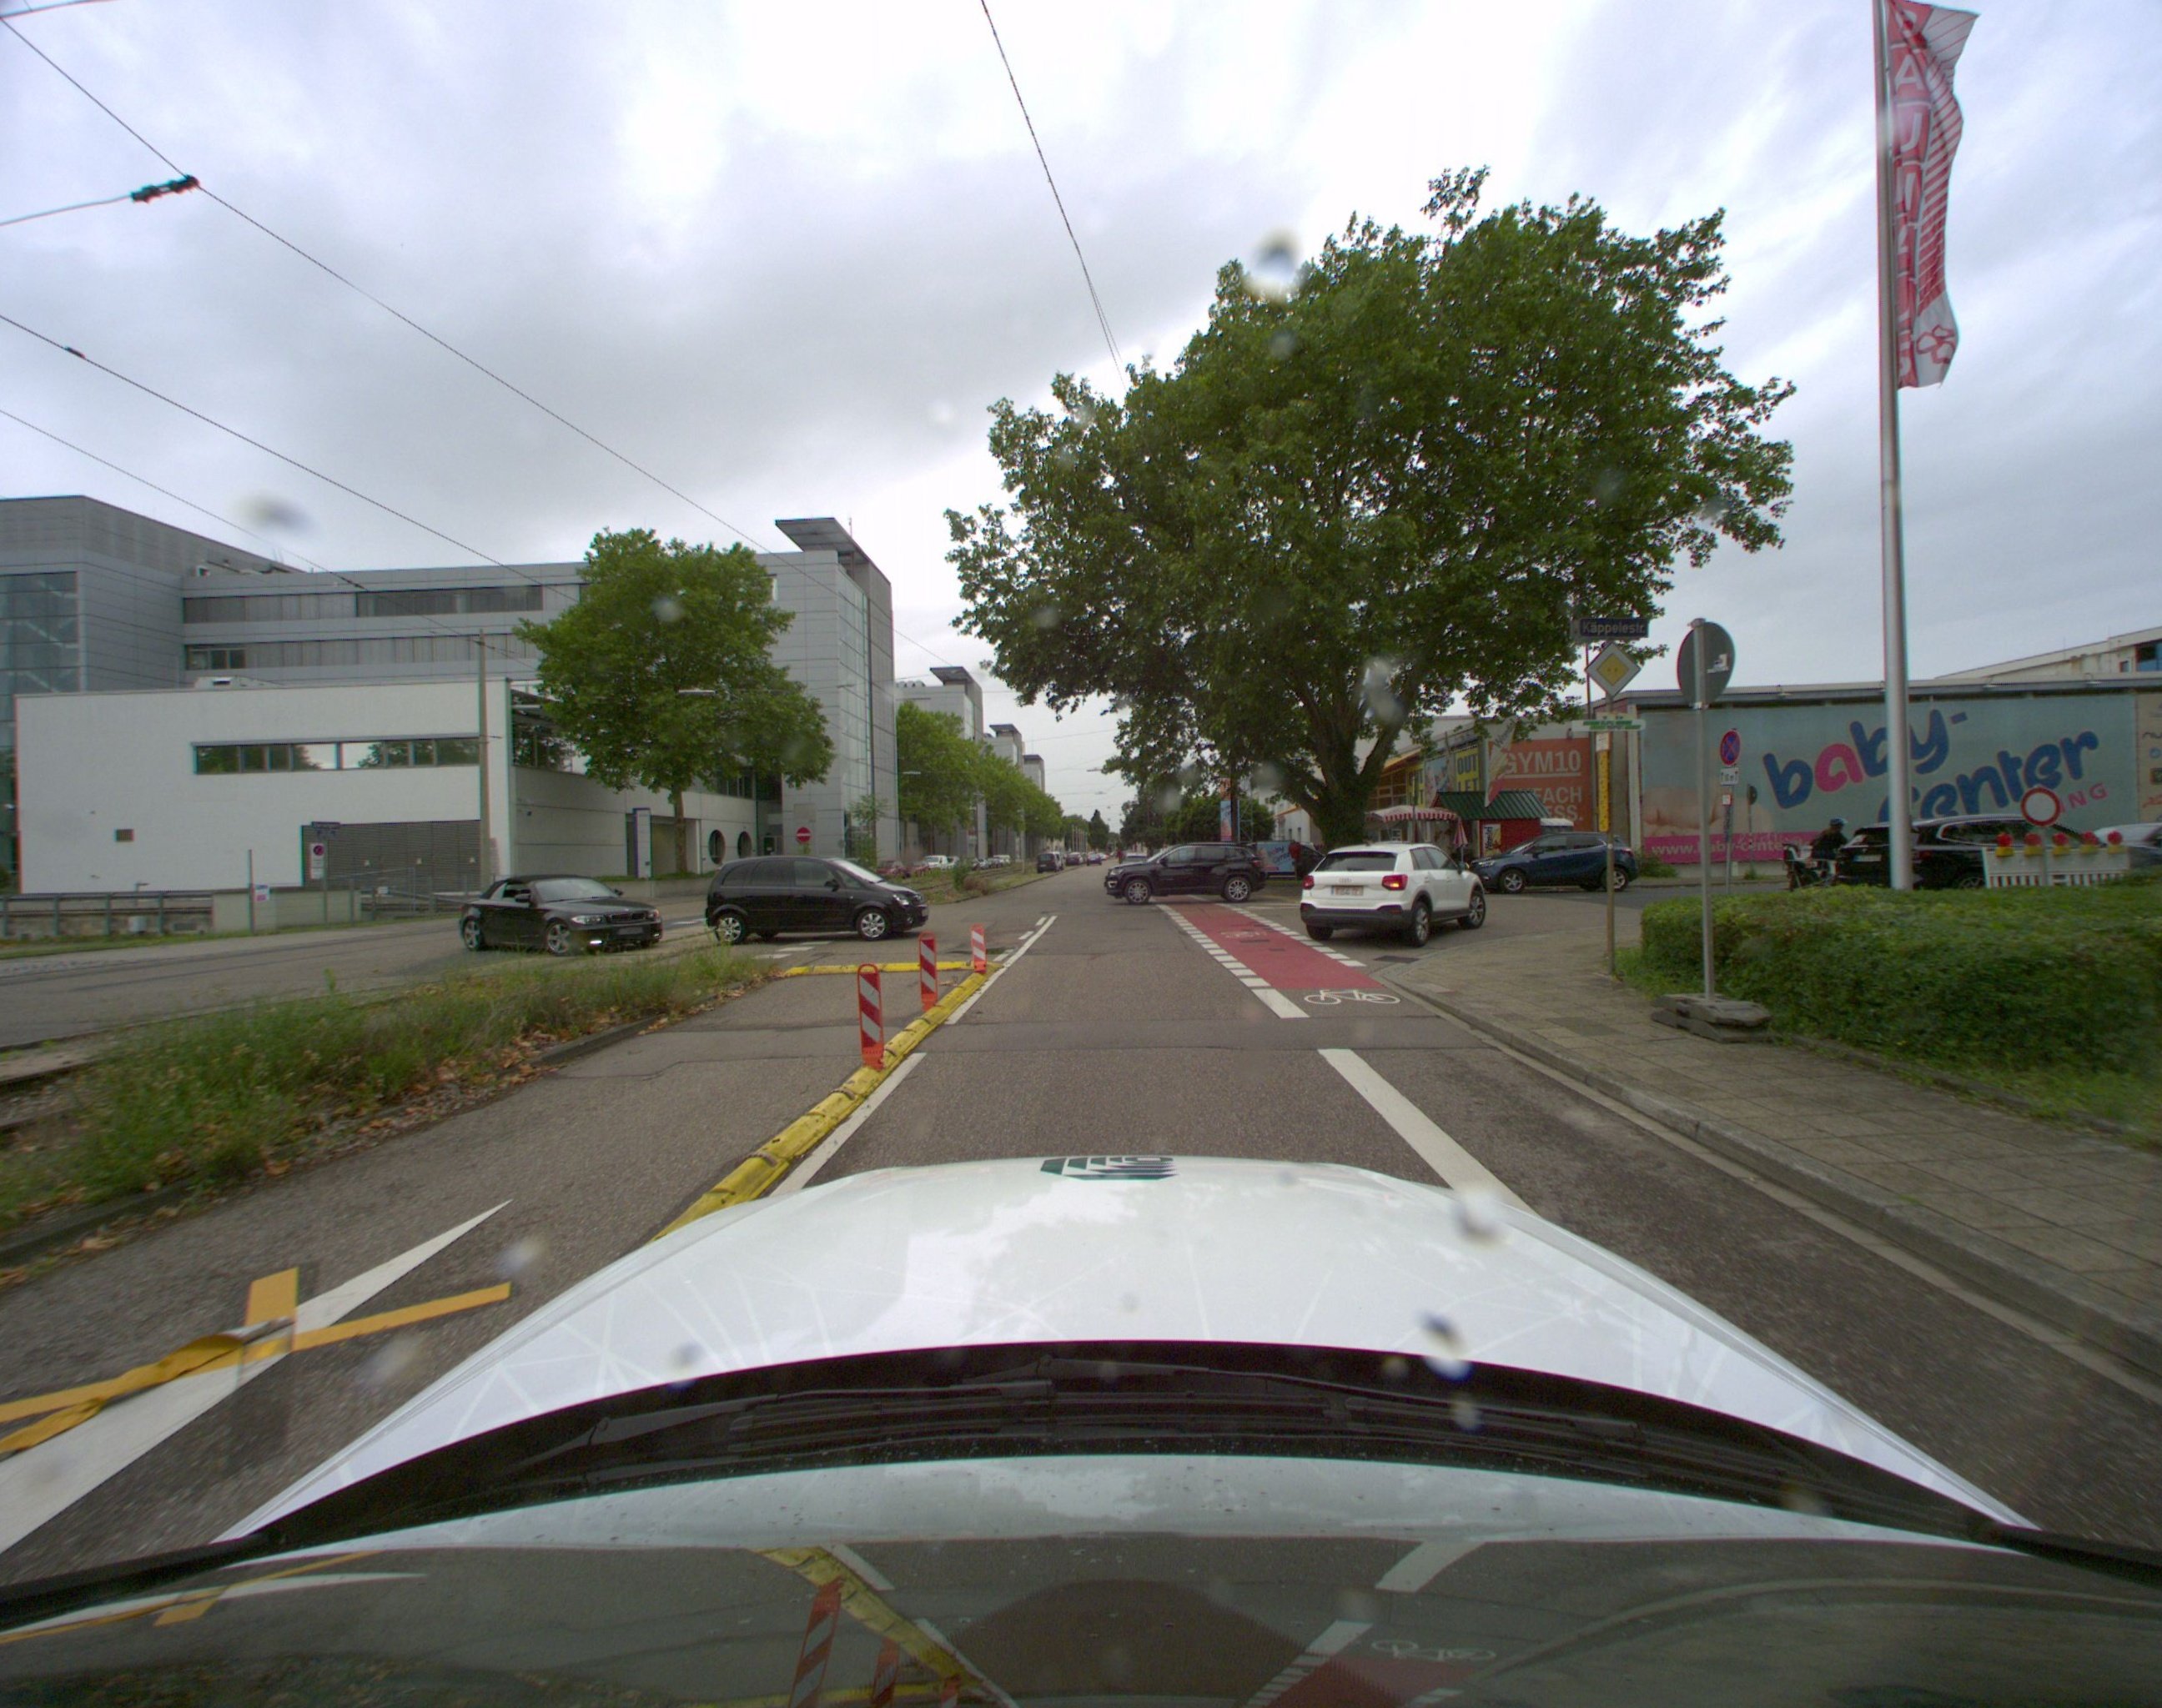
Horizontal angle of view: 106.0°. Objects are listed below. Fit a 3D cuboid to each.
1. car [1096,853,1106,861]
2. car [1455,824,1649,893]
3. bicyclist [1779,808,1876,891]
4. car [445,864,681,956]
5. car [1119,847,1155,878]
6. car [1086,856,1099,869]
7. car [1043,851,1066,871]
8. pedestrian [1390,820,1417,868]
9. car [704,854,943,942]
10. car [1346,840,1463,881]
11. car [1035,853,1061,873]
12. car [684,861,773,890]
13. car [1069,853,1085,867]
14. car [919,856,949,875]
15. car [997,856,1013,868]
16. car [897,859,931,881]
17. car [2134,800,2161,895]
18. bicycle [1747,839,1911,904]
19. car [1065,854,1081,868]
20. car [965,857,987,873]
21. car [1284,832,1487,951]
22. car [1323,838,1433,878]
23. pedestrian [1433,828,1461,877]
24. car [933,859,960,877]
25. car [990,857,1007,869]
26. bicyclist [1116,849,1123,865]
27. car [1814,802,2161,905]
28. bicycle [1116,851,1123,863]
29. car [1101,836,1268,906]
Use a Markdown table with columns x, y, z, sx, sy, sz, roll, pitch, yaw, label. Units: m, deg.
| x | y | z | sx | sy | sz | roll | pitch | yaw | label |
| --- | --- | --- | --- | --- | --- | --- | --- | --- | --- |
| 3.753 | 0.585 | 151.318 | 1.789 | 1.513 | 3.705 | 0 | 0 | 0 | car |
| 12.931 | 0.130 | 22.628 | 4.186 | 1.677 | 1.998 | -2 | 0 | 10 | car |
| 15.410 | -0.096 | 16.839 | 1.228 | 1.630 | 0.819 | -2 | 0 | -2 | bicyclist |
| -9.522 | 1.033 | 14.935 | 4.077 | 1.475 | 1.836 | -4 | -2 | 28 | car |
| 3.139 | 0.461 | 46.278 | 1.870 | 1.632 | 4.001 | -2 | 0 | 2 | car |
| 1.421 | 1.091 | 101.671 | 1.679 | 1.513 | 3.705 | 0 | 0 | 0 | car |
| -2.467 | 0.656 | 75.992 | 1.870 | 1.763 | 4.001 | -2 | 0 | 2 | car |
| 11.666 | -0.351 | 29.469 | 0.677 | 1.705 | 0.598 | -2 | 0 | 0 | pedestrian |
| -4.742 | 0.787 | 15.394 | 3.868 | 1.556 | 1.826 | 0 | -1 | 2 | car |
| 13.517 | 0.267 | 34.197 | 4.199 | 1.551 | 1.790 | -2 | 0 | 0 | car |
| -2.823 | 0.729 | 70.180 | 1.870 | 1.632 | 4.001 | -2 | 0 | 2 | car |
| -20.989 | 1.254 | 48.580 | 4.497 | 1.670 | 1.825 | 0 | -1 | 0 | car |
| -0.537 | 0.816 | 109.581 | 1.870 | 1.763 | 4.001 | -2 | 0 | 2 | car |
| -13.548 | 1.052 | 75.380 | 1.870 | 1.632 | 4.207 | -2 | 0 | 2 | car |
| -11.245 | 1.203 | 120.471 | 1.870 | 1.632 | 4.207 | -2 | 0 | 2 | car |
| -14.110 | 1.330 | 68.831 | 1.870 | 1.632 | 4.001 | -2 | 0 | 2 | car |
| 22.649 | -0.176 | 14.677 | 4.535 | 1.790 | 2.075 | -2 | 1 | 2 | car |
| 15.428 | 0.346 | 16.838 | 2.667 | 1.212 | 0.818 | -2 | 0 | -2 | bicycle |
| -0.979 | 0.893 | 104.376 | 1.870 | 1.763 | 4.001 | -2 | 0 | 2 | car |
| -12.165 | 1.243 | 94.441 | 1.870 | 1.632 | 4.207 | -2 | 0 | 2 | car |
| 5.092 | 0.480 | 13.361 | 1.806 | 1.600 | 3.799 | 0 | 2 | 43 | car |
| 13.198 | 0.179 | 36.358 | 4.199 | 1.551 | 1.790 | -2 | 0 | 0 | car |
| 13.014 | -0.066 | 28.974 | 0.677 | 1.705 | 0.598 | -2 | 0 | 0 | pedestrian |
| -13.331 | 1.347 | 81.011 | 1.870 | 1.632 | 4.207 | -2 | 0 | 2 | car |
| -11.602 | 1.272 | 114.614 | 1.870 | 1.632 | 4.207 | -2 | 0 | 2 | car |
| 4.259 | 0.326 | 90.353 | 0.668 | 1.815 | 0.760 | 0 | 0 | 0 | bicyclist |
| 16.264 | -0.015 | 14.504 | 4.535 | 1.572 | 1.994 | -2 | 0 | 2 | car |
| 4.263 | 0.325 | 90.172 | 0.668 | 1.394 | 2.166 | 0 | 0 | 0 | bicycle |
| 2.765 | 0.443 | 22.340 | 4.296 | 1.677 | 1.994 | -2 | 0 | 3 | car |
